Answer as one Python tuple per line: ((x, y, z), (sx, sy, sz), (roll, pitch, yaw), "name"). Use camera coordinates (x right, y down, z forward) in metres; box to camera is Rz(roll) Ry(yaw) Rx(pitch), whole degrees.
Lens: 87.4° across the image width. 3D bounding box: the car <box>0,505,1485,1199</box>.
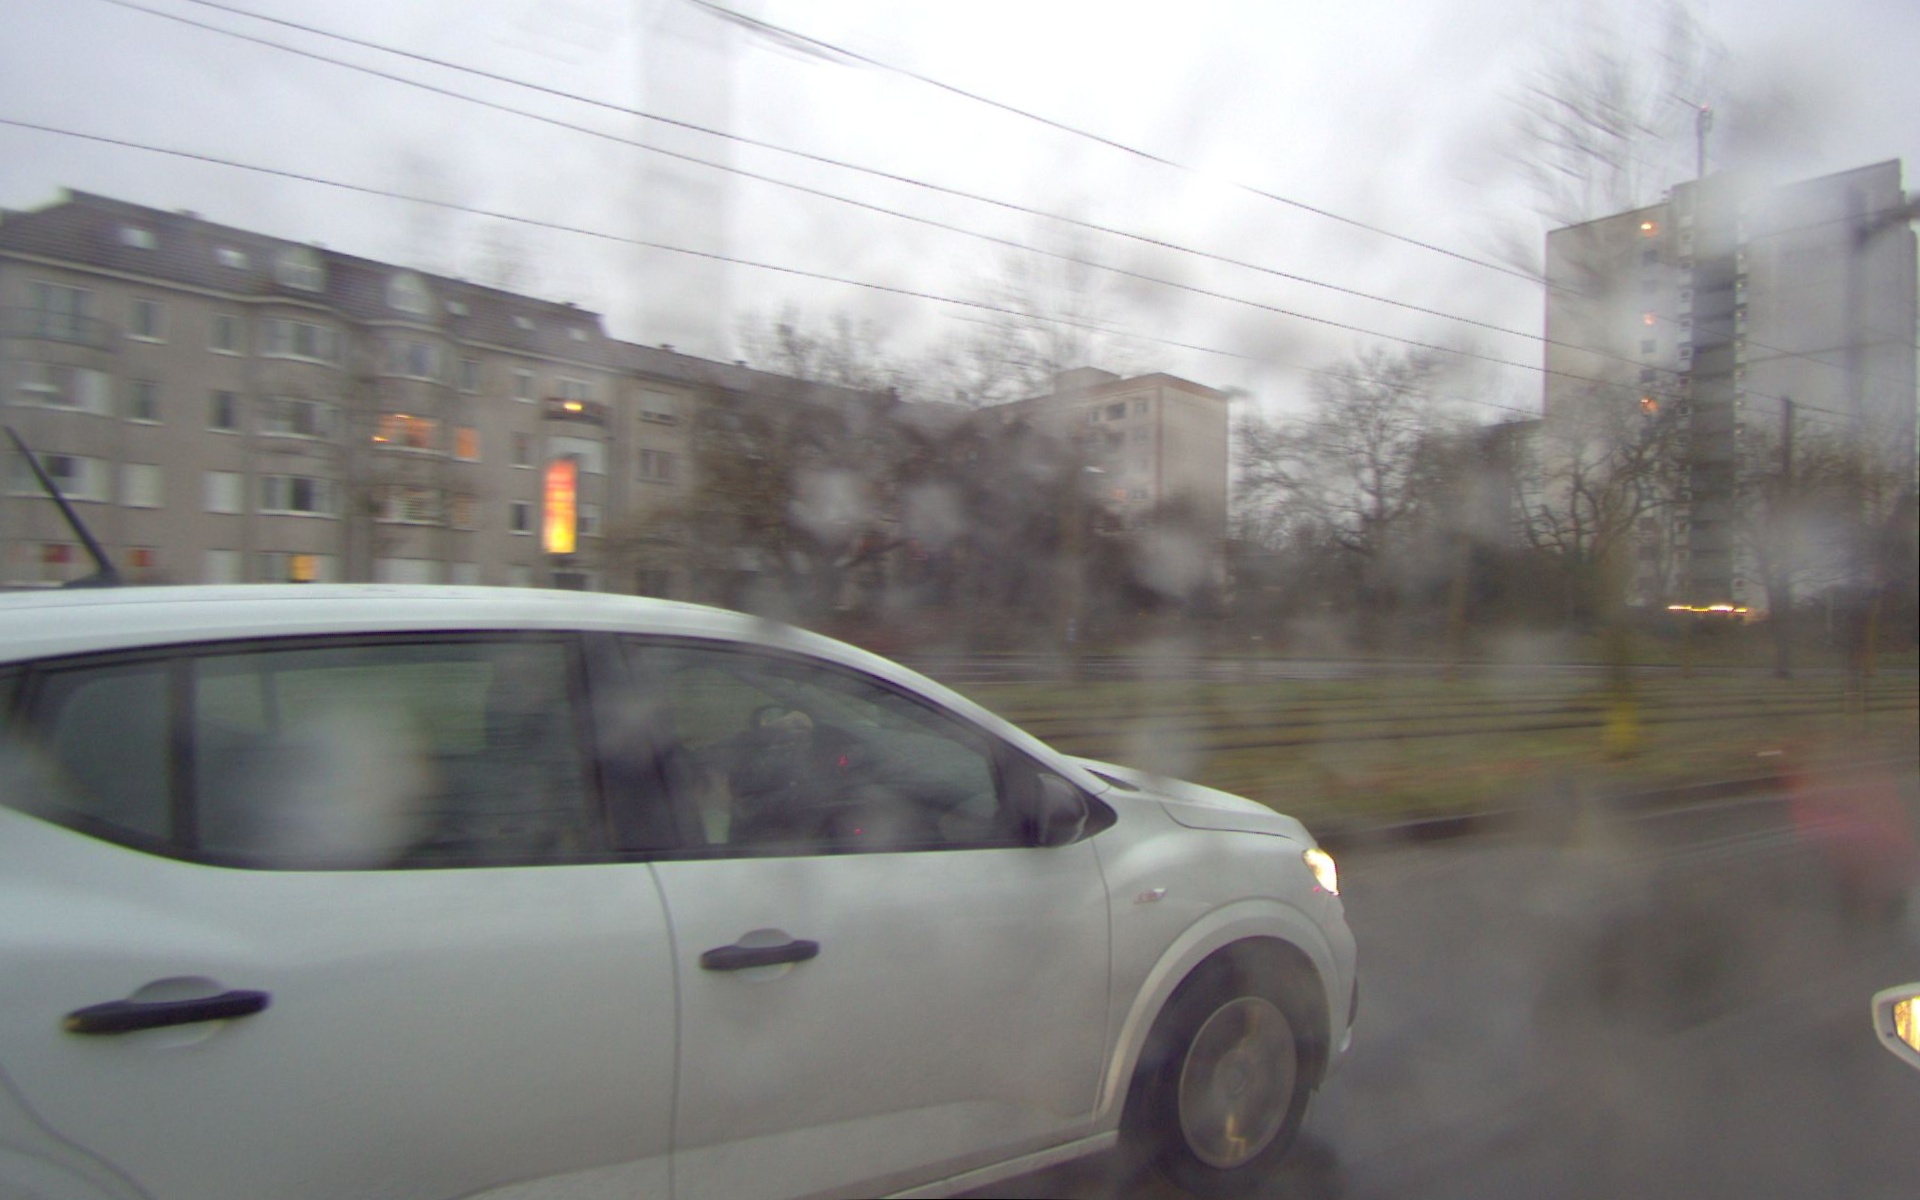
((-0.636, 0.691, 2.632), (4.087, 1.545, 1.700), (2, -1, -31), "car")
